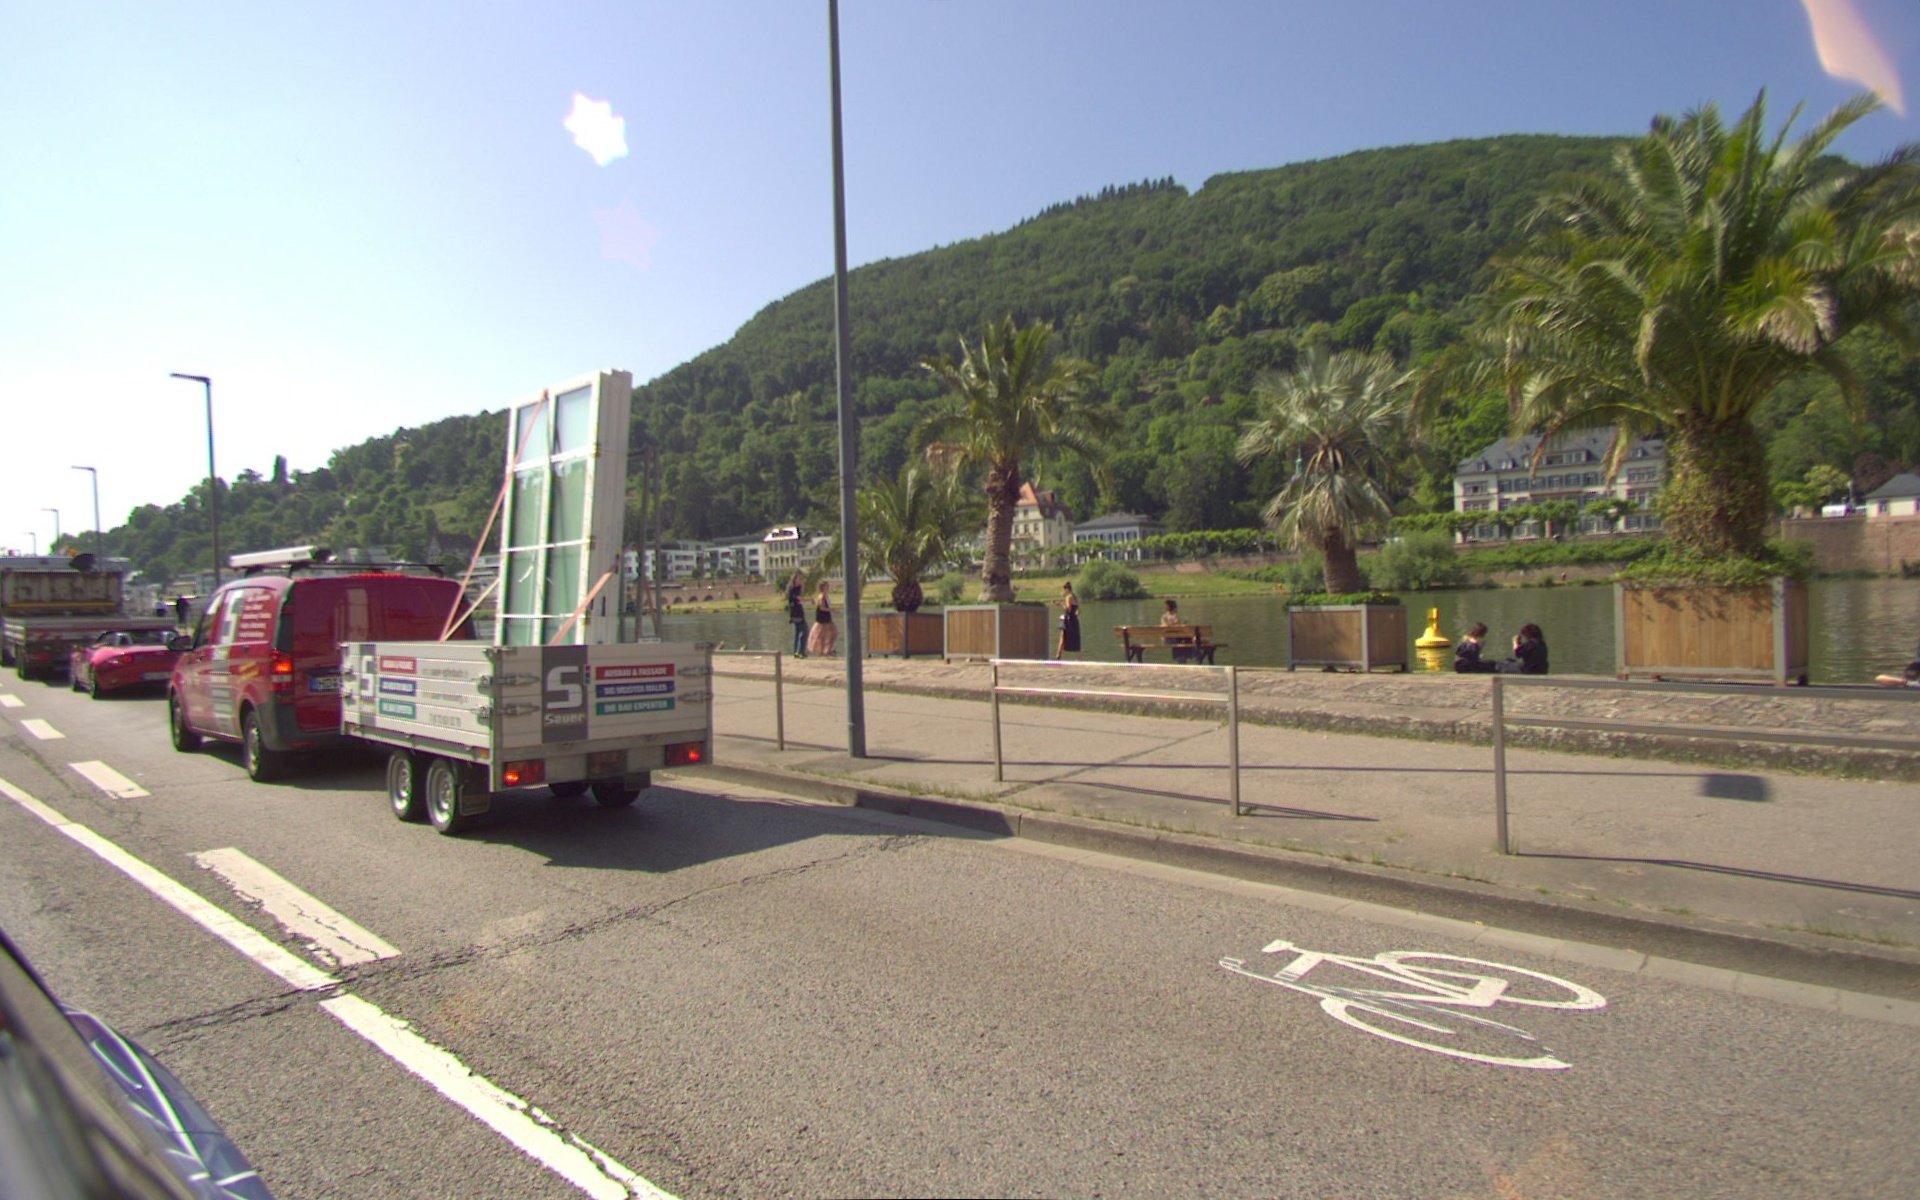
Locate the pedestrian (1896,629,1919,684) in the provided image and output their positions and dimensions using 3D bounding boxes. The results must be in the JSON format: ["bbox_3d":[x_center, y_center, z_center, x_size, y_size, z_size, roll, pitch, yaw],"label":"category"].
[{"bbox_3d":[10.215,0.602,10.624,0.457,0.568,0.515,3,-3,-39],"label":"pedestrian"}]

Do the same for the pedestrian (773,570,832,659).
[{"bbox_3d":[-3.127,0.282,20.149,0.839,1.704,0.792,-2,0,16],"label":"pedestrian"}]

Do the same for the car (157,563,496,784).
[{"bbox_3d":[-6.814,0.655,10.660,4.542,1.841,1.854,-2,-1,42],"label":"car"}]

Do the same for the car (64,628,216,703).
[{"bbox_3d":[-15.337,1.150,18.875,3.627,1.203,1.653,-1,-1,42],"label":"car"}]

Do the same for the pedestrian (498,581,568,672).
[{"bbox_3d":[-8.406,0.499,19.920,1.151,1.713,0.807,-1,1,42],"label":"pedestrian"}]

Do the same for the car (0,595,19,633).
[{"bbox_3d":[-66.619,0.951,69.829,4.750,2.545,2.170,-1,-2,44],"label":"car"}]

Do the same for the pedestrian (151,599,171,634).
[{"bbox_3d":[-40.060,0.829,50.740,0.703,1.719,0.846,-1,0,-44],"label":"pedestrian"}]

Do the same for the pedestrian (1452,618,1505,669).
[{"bbox_3d":[8.083,0.665,15.768,0.688,0.747,0.531,-3,1,-44],"label":"pedestrian"}]

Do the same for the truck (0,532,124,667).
[{"bbox_3d":[-26.825,-0.008,29.768,7.874,3.483,2.612,0,0,44],"label":"truck"}]

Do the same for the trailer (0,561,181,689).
[{"bbox_3d":[-20.462,0.495,23.600,6.949,2.550,2.667,0,0,44],"label":"trailer"}]

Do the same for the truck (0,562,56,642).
[{"bbox_3d":[-45.056,0.136,48.105,2.612,3.502,11.115,-1,0,-44],"label":"truck"}]

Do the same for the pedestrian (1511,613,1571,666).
[{"bbox_3d":[8.680,0.583,15.117,0.688,0.747,0.604,-3,1,-44],"label":"pedestrian"}]

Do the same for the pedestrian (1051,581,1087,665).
[{"bbox_3d":[2.142,0.449,19.950,0.587,1.613,0.679,-2,0,2],"label":"pedestrian"}]

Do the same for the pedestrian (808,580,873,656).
[{"bbox_3d":[-2.506,0.390,21.228,1.115,1.545,0.785,-1,-3,42],"label":"pedestrian"}]

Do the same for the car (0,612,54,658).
[{"bbox_3d":[-32.865,1.186,35.188,3.999,1.454,1.758,0,1,44],"label":"car"}]

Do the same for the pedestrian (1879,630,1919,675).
[{"bbox_3d":[9.877,0.501,9.565,1.741,0.425,0.638,-2,-1,42],"label":"pedestrian"}]

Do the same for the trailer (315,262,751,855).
[{"bbox_3d":[-3.279,-0.214,7.500,3.383,3.345,1.723,-1,-1,42],"label":"trailer"}]

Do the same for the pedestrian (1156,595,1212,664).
[{"bbox_3d":[3.868,0.499,17.428,0.930,1.154,0.508,1,-2,-44],"label":"pedestrian"}]
